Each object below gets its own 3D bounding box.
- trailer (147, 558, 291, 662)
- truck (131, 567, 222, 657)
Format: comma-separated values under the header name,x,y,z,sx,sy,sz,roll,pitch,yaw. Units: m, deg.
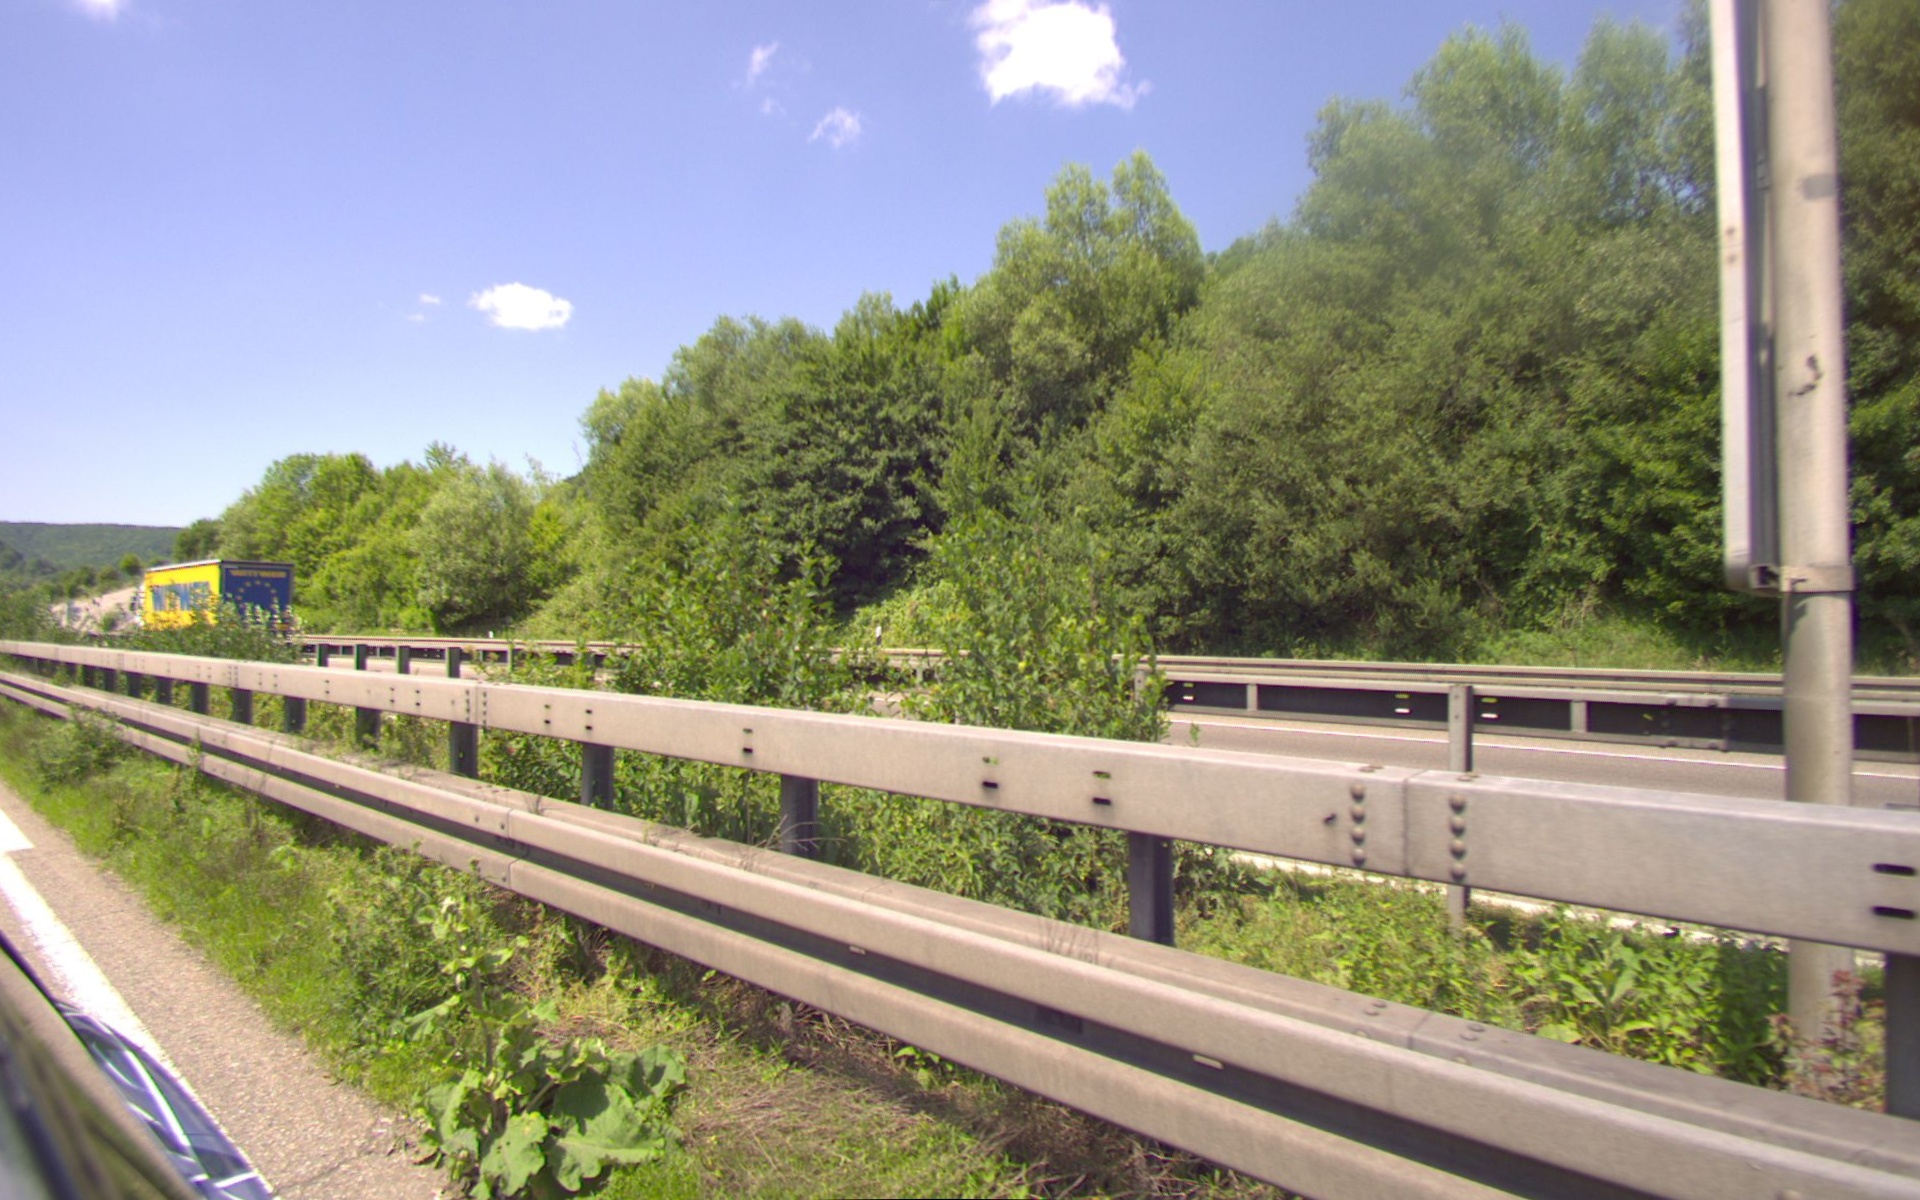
name,x,y,z,sx,sy,sz,roll,pitch,yaw
trailer,-32.760,0.479,44.433,12.597,4.035,2.553,-1,-1,42
truck,-38.388,0.609,49.518,5.848,4.121,2.520,-1,-2,42
